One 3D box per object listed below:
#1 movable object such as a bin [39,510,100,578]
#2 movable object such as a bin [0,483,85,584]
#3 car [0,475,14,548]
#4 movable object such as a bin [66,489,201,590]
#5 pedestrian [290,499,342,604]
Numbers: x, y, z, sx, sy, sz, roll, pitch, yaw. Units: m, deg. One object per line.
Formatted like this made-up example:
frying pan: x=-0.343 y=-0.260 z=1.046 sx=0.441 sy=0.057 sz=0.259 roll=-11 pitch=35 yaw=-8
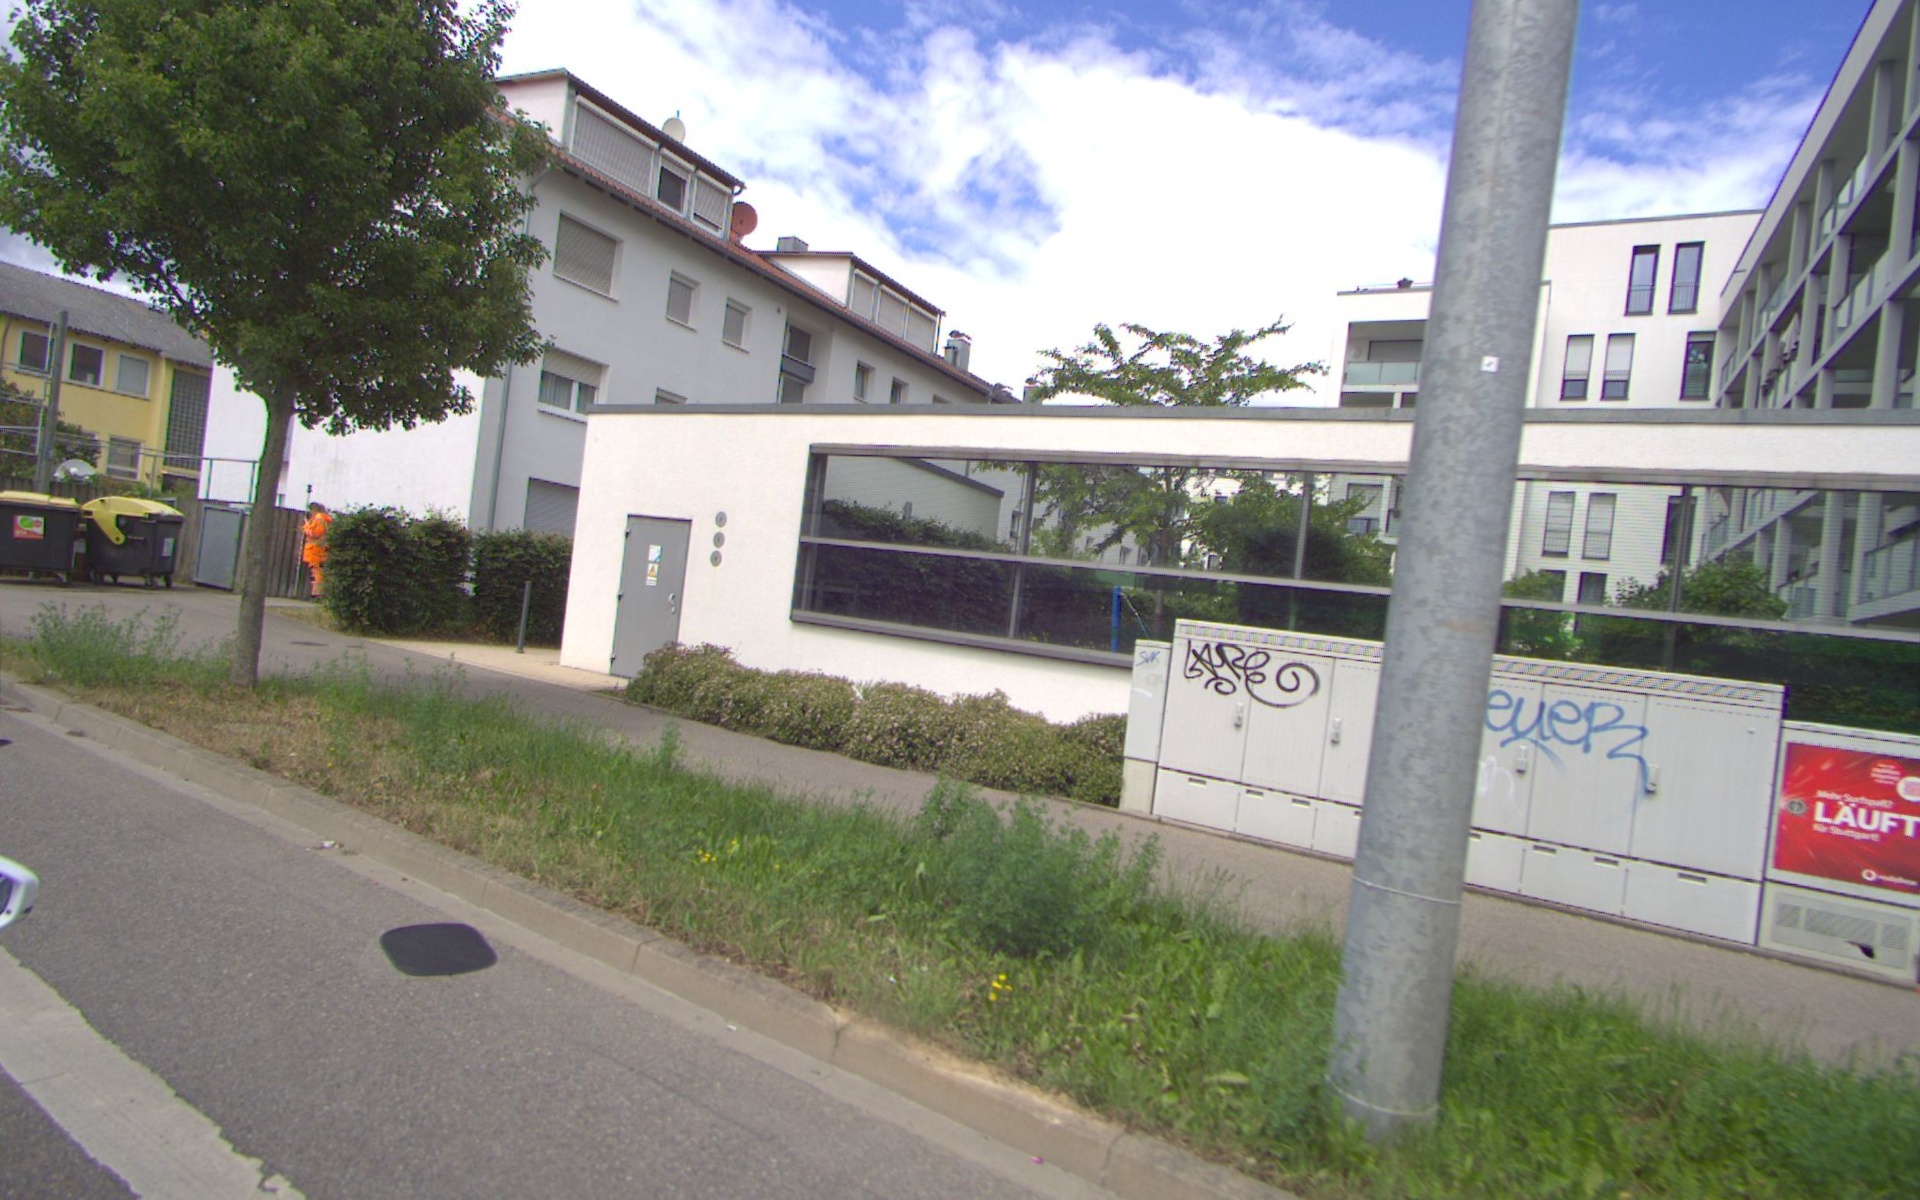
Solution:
movable object such as a bin: x=-14.521 y=-0.905 z=16.415 sx=0.560 sy=1.039 sz=0.404 roll=6 pitch=0 yaw=-22
movable object such as a bin: x=-14.222 y=-1.019 z=15.259 sx=1.315 sy=1.377 sz=1.236 roll=7 pitch=-1 yaw=-43
car: x=-23.365 y=-2.241 z=22.533 sx=4.444 sy=1.564 sz=1.878 roll=7 pitch=0 yaw=30
movable object such as a bin: x=-13.704 y=-0.976 z=16.748 sx=1.305 sy=1.453 sz=1.245 roll=6 pitch=-1 yaw=-22
pedestrian: x=-11.516 y=-0.864 z=17.983 sx=0.505 sy=1.785 sz=0.495 roll=9 pitch=-2 yaw=-43
